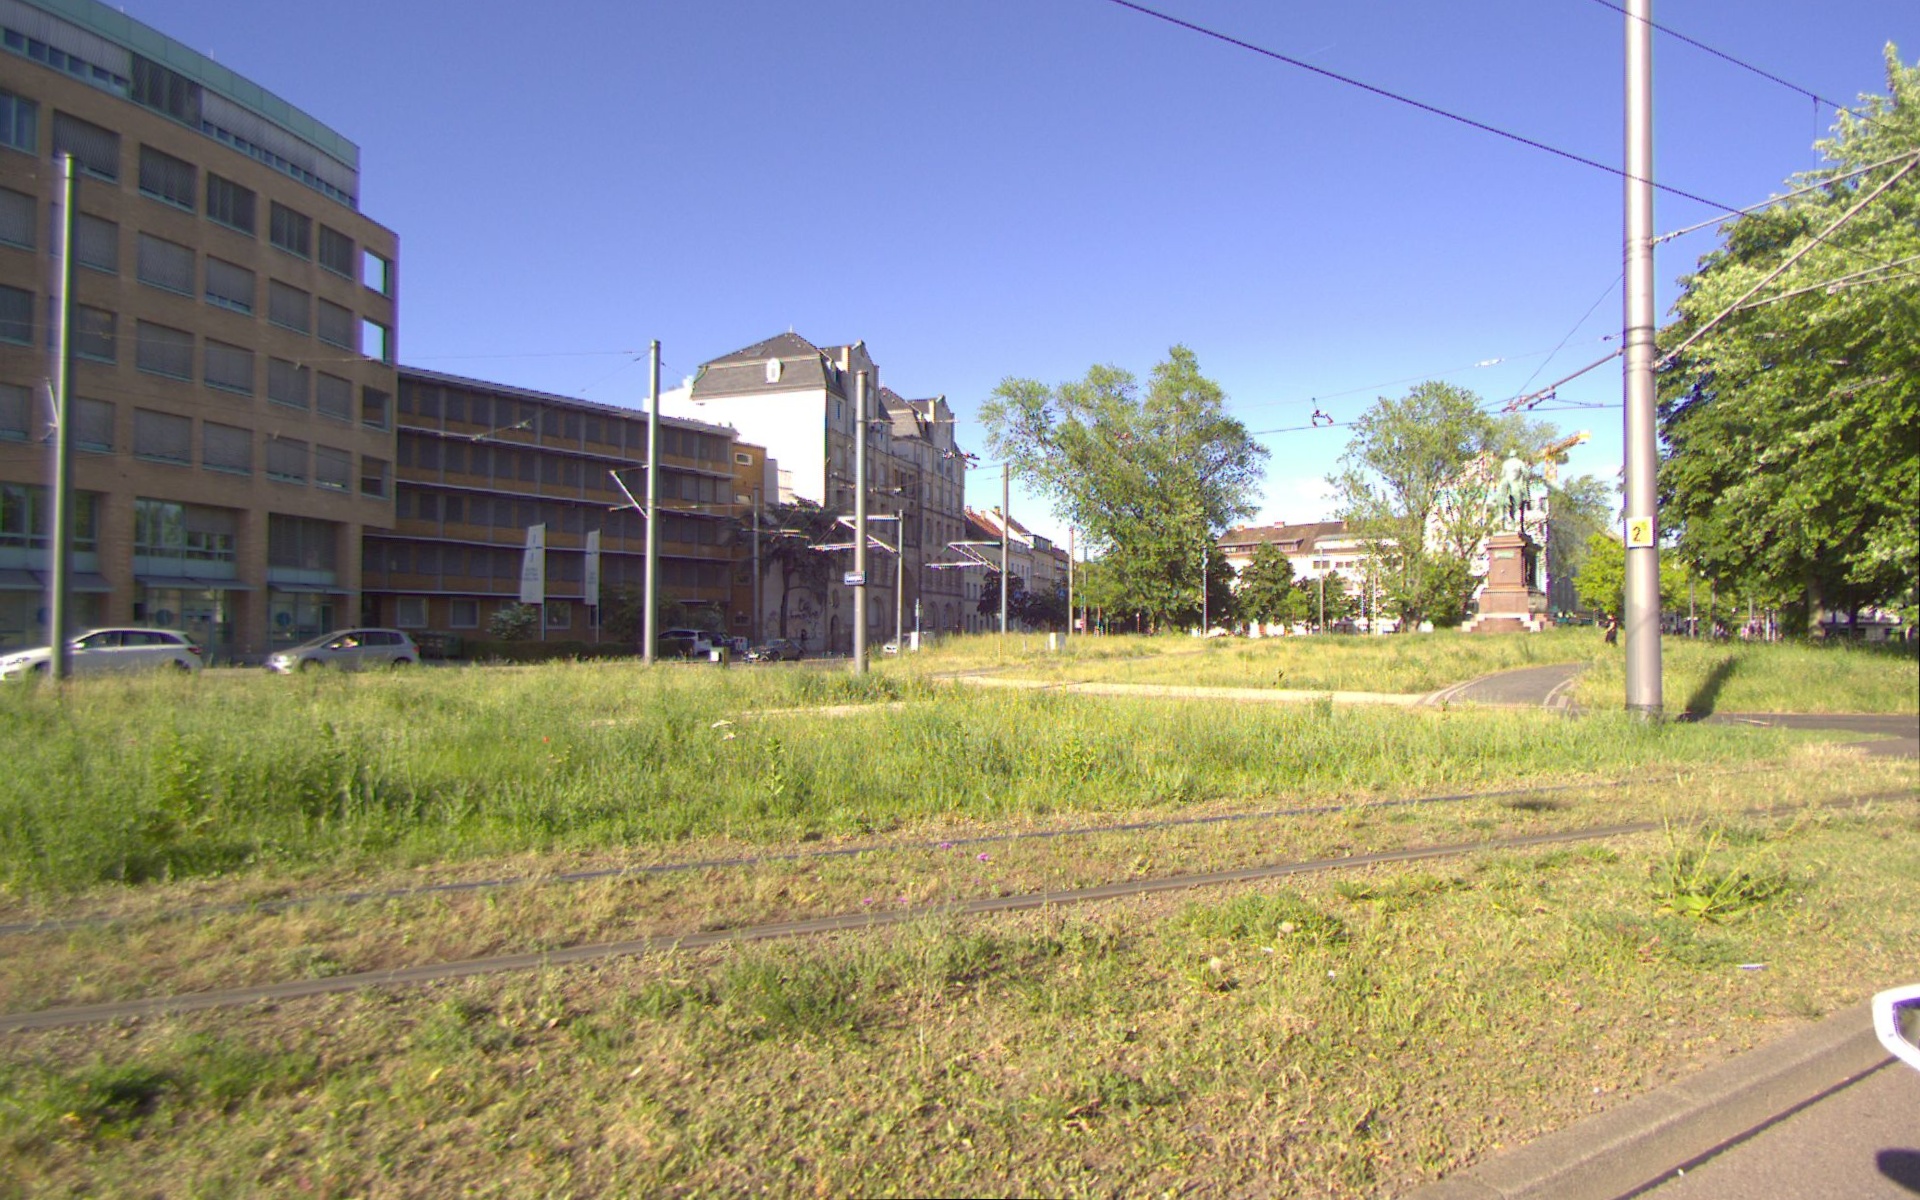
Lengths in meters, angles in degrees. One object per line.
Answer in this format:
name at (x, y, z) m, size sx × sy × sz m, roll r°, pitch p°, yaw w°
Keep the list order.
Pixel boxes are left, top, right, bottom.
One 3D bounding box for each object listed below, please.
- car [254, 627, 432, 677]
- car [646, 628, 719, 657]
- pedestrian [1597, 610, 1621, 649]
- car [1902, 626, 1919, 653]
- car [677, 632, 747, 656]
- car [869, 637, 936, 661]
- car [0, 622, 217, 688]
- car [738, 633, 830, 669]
car at (-19.888, 1.665, 32.565) m, size 1.967 × 1.446 × 4.495 m, roll 1°, pitch -1°, yaw 36°
car at (-17.501, 2.670, 63.444) m, size 3.919 × 1.602 × 2.001 m, roll 2°, pitch -1°, yaw 11°
pedestrian at (27.360, 1.249, 42.377) m, size 0.661 × 1.637 × 0.555 m, roll 2°, pitch -1°, yaw 13°
car at (87.884, 3.615, 89.810) m, size 5.277 × 2.344 × 1.989 m, roll 1°, pitch -1°, yaw 43°
car at (-16.244, 2.879, 65.833) m, size 3.919 × 1.359 × 2.001 m, roll 2°, pitch -1°, yaw 11°
car at (-3.635, 3.114, 64.374) m, size 1.965 × 1.372 × 4.758 m, roll 1°, pitch 0°, yaw 31°
car at (-23.722, 1.486, 27.858) m, size 1.969 × 1.617 × 4.636 m, roll 1°, pitch -1°, yaw 39°
car at (-8.673, 2.537, 49.805) m, size 1.968 × 1.532 × 4.270 m, roll 0°, pitch -5°, yaw 36°
